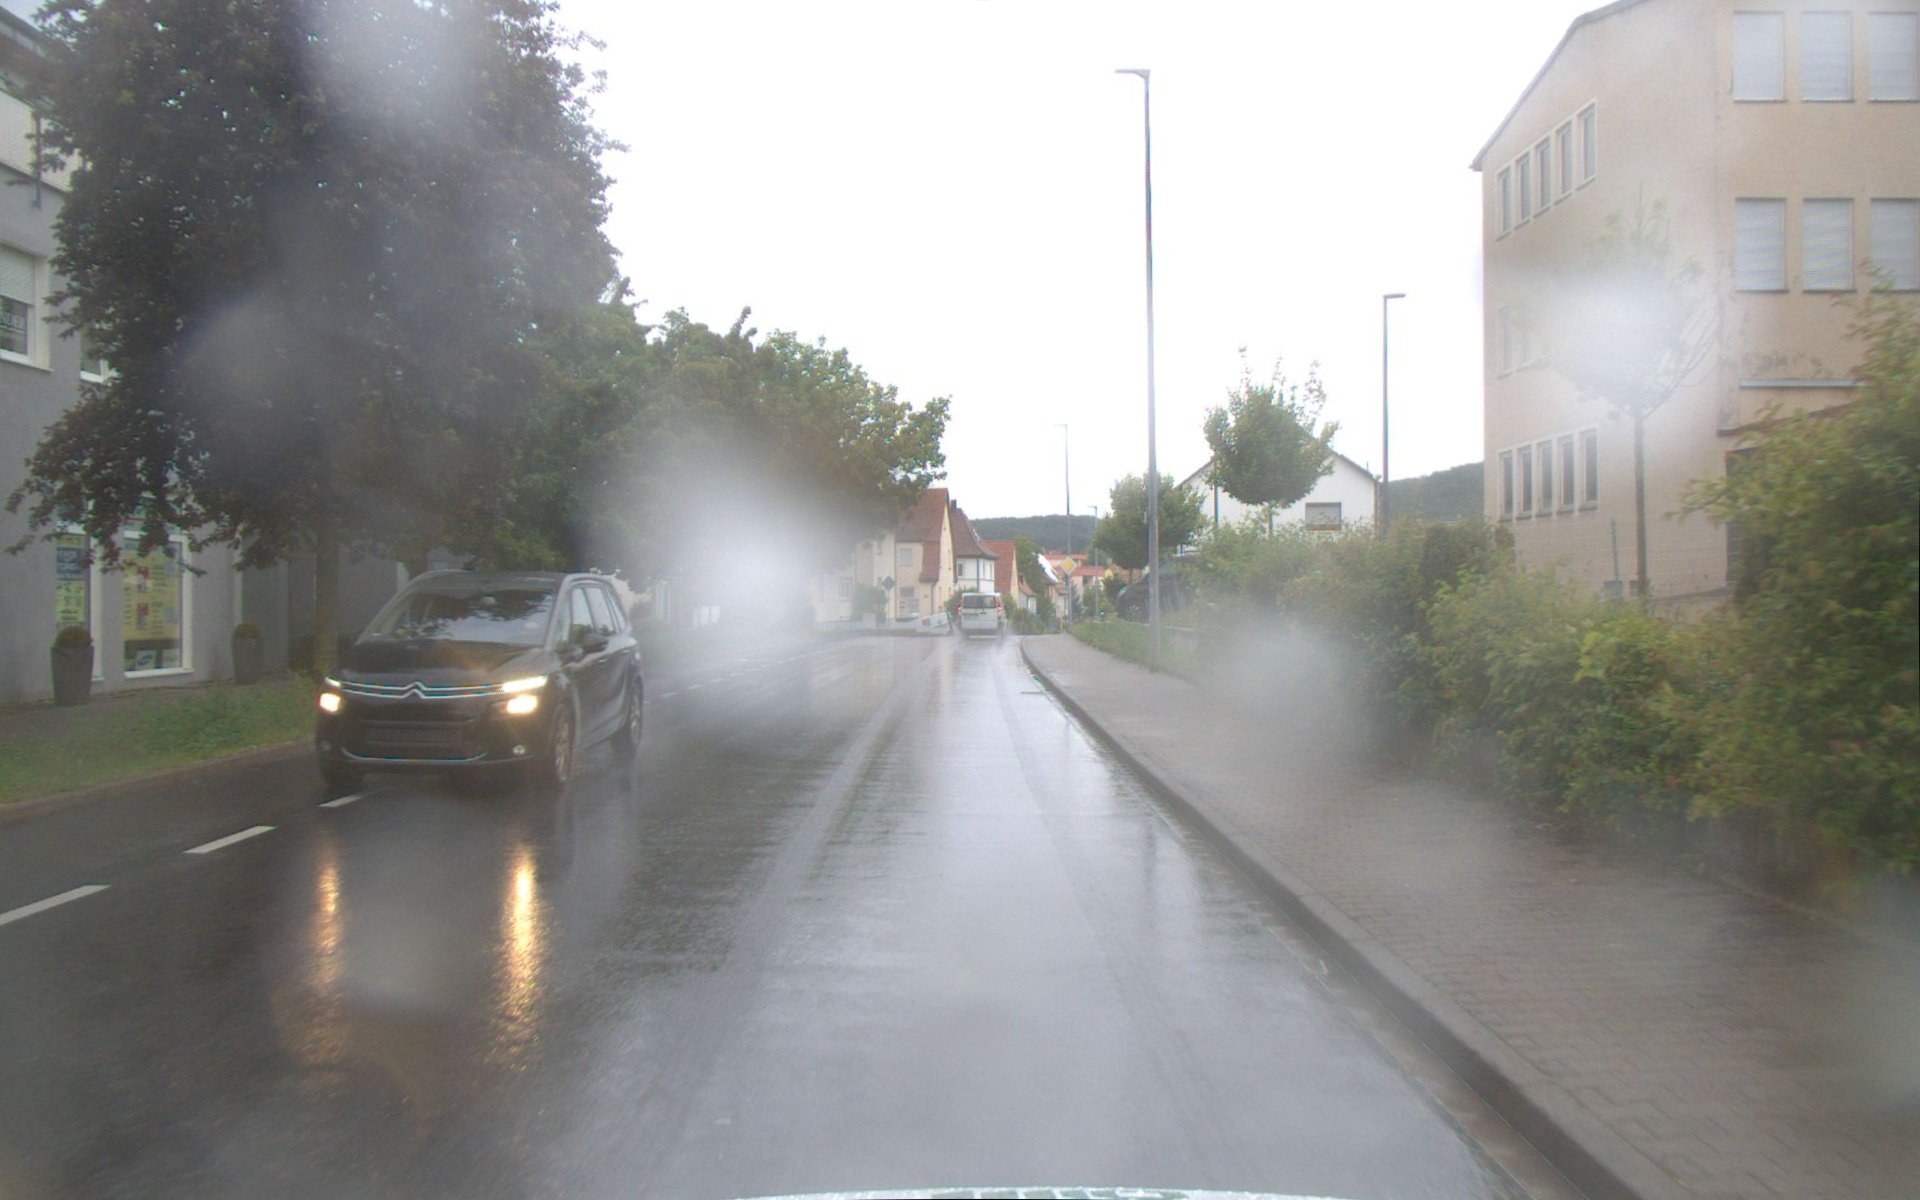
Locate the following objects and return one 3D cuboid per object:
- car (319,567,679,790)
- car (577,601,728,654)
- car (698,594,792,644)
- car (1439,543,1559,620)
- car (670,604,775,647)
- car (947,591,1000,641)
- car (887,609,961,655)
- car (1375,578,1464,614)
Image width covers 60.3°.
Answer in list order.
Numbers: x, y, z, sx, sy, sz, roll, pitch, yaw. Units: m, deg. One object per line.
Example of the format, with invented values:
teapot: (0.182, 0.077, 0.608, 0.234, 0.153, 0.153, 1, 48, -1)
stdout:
car: (-3.687, 0.528, 14.118, 1.813, 1.582, 4.502, 1, 1, 0)
car: (-8.467, 0.748, 45.695, 3.820, 1.306, 1.582, -2, -1, 1)
car: (-6.997, 0.616, 53.941, 2.848, 1.480, 1.253, -2, -3, 1)
car: (15.383, -0.572, 47.412, 1.758, 2.048, 4.599, -1, 2, -3)
car: (-7.006, 0.759, 49.029, 2.848, 1.179, 1.471, -2, -1, 1)
car: (0.560, 0.634, 67.749, 2.073, 1.921, 4.502, 1, 1, 0)
car: (-2.430, 2.154, 112.122, 4.466, 2.044, 2.161, -13, -1, 7)
car: (21.228, -0.188, 76.445, 3.688, 1.480, 1.609, -2, -1, 5)
